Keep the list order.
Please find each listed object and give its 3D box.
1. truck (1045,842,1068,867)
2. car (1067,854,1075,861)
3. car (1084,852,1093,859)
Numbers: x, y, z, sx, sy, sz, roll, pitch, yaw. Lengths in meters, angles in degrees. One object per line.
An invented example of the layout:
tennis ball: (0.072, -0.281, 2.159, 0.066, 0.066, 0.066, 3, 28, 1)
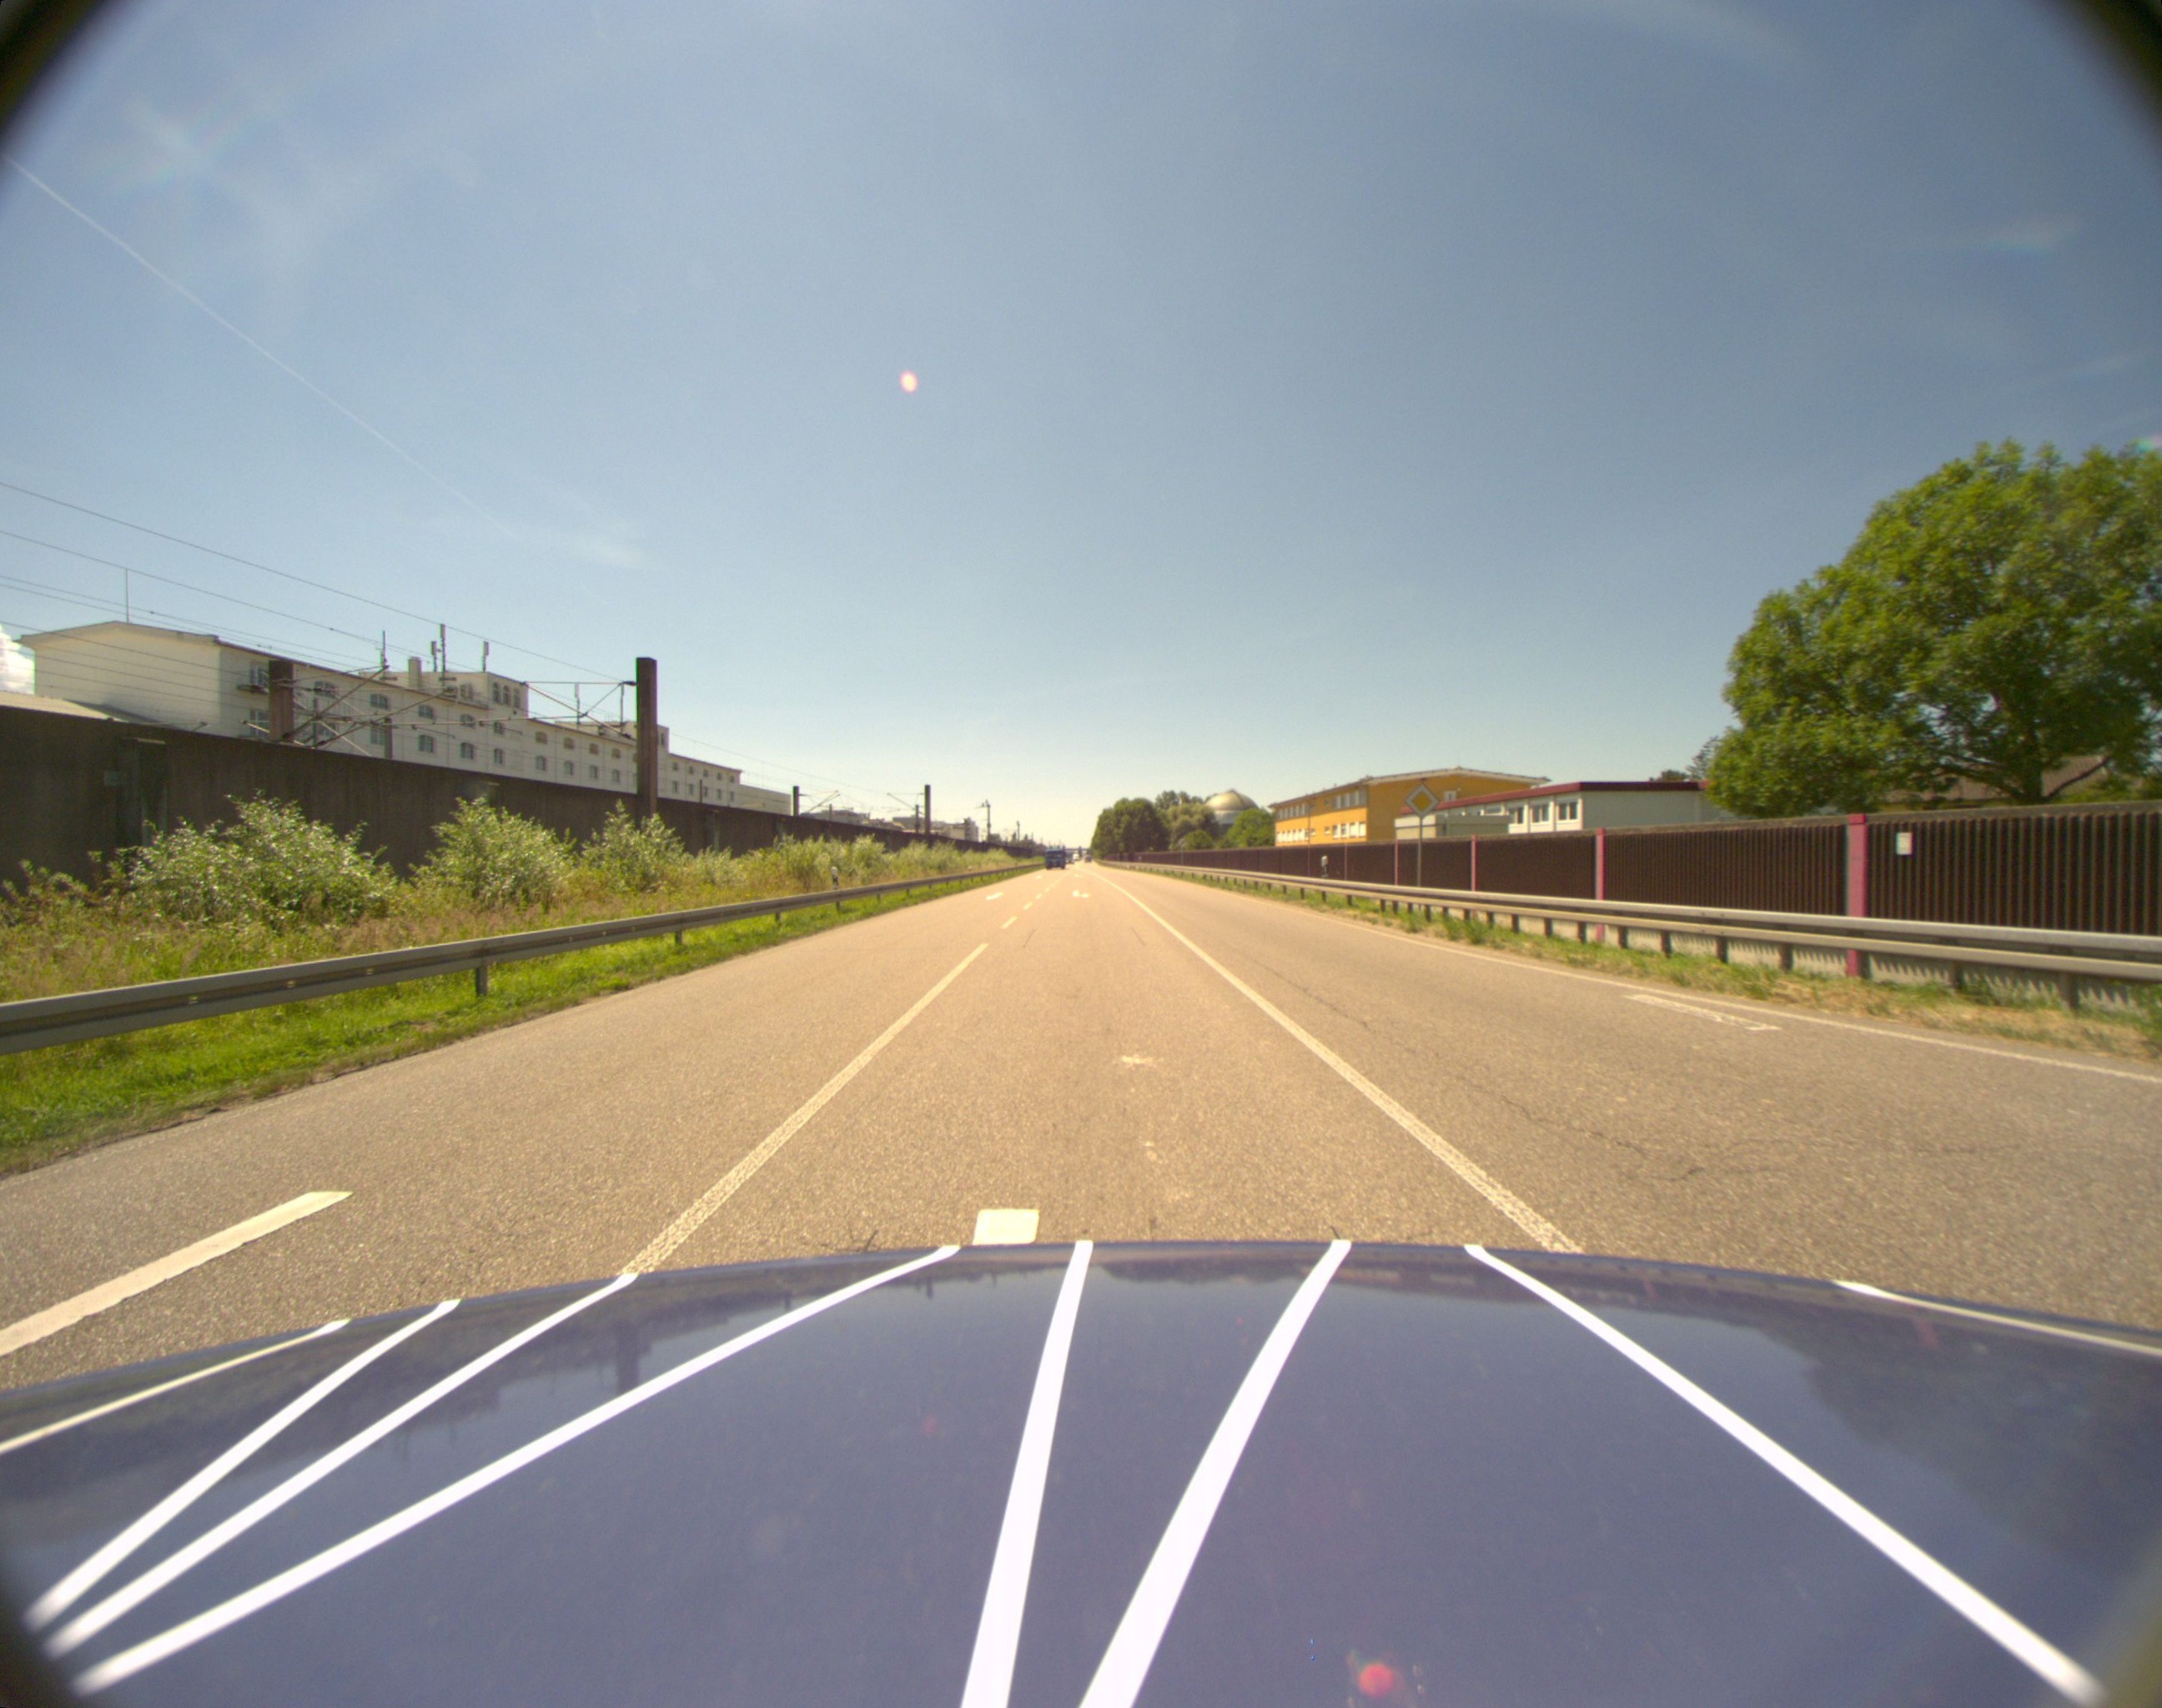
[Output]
truck: (-3.078, 0.011, 99.053, 2.617, 3.024, 10.654, -1, 0, 0)
car: (-2.242, 0.771, 163.976, 1.730, 1.465, 3.889, -1, 0, -1)
car: (1.765, 0.390, 186.256, 1.892, 1.730, 4.775, -1, 0, -2)
